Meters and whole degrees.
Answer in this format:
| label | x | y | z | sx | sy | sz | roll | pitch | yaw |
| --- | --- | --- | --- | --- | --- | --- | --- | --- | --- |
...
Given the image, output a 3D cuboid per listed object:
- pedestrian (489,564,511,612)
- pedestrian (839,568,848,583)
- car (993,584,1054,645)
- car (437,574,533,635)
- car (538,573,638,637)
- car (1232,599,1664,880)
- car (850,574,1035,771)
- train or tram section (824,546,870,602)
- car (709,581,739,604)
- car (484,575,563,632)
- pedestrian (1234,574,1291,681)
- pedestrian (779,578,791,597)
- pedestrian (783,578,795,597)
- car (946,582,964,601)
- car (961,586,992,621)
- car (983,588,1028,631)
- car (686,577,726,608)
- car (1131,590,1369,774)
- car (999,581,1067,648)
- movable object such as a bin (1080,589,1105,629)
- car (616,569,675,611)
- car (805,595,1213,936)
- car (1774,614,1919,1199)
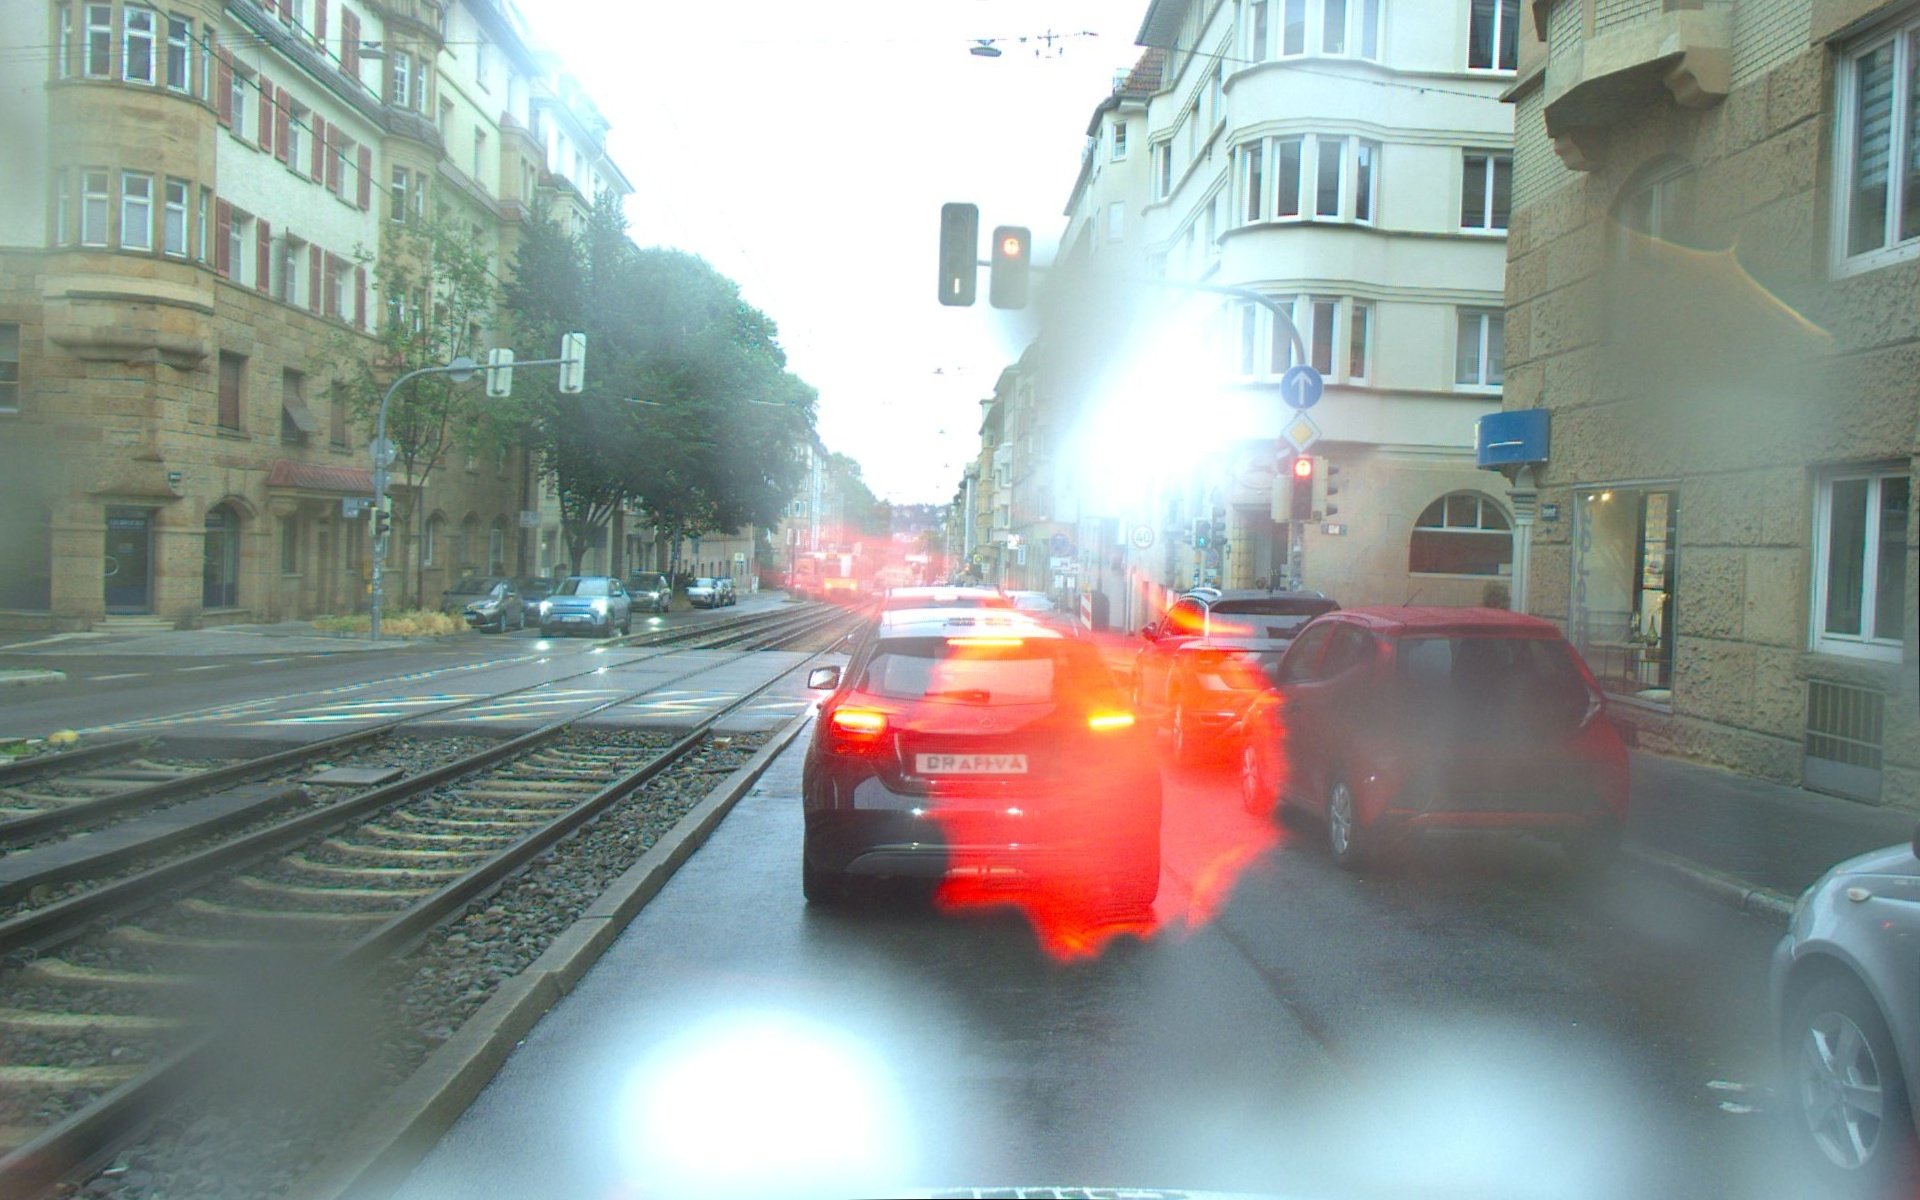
| label | x | y | z | sx | sy | sz | roll | pitch | yaw |
| --- | --- | --- | --- | --- | --- | --- | --- | --- | --- |
| pedestrian | -16.370 | -0.412 | 58.917 | 0.619 | 1.702 | 0.701 | 1 | -1 | -7 |
| pedestrian | -15.742 | -3.352 | 223.270 | 1.031 | 1.992 | 1.043 | 2 | 0 | 0 |
| car | 1.772 | 0.387 | 47.131 | 1.513 | 1.618 | 3.547 | 1 | 0 | -1 |
| car | -13.009 | 0.126 | 45.488 | 1.718 | 1.579 | 4.032 | 1 | 0 | -4 |
| car | -10.044 | 0.144 | 44.918 | 1.860 | 1.615 | 3.972 | 1 | 0 | -1 |
| car | 2.906 | 0.754 | 10.551 | 1.609 | 1.473 | 3.297 | 1 | 0 | -3 |
| car | -0.175 | 0.621 | 15.825 | 1.533 | 1.637 | 3.813 | 1 | 0 | -1 |
| train or tram section | -8.303 | -1.850 | 122.713 | 2.726 | 3.928 | 10.427 | 1 | 0 | -1 |
| car | -14.016 | -0.434 | 98.363 | 1.419 | 1.354 | 3.270 | 1 | 0 | -3 |
| car | -13.273 | 0.108 | 50.514 | 1.683 | 1.639 | 3.914 | 1 | 0 | -5 |
| pedestrian | 5.178 | 0.467 | 28.372 | 0.726 | 1.778 | 1.111 | 1 | -1 | -1 |
| pedestrian | -18.368 | -1.326 | 173.771 | 1.031 | 1.992 | 1.043 | 2 | 0 | 0 |
| pedestrian | -18.123 | -1.314 | 175.228 | 1.031 | 1.992 | 1.043 | 2 | 0 | 0 |
| car | -0.409 | -0.728 | 146.745 | 1.513 | 1.664 | 3.686 | 1 | 0 | 0 |
| car | 0.729 | 0.144 | 73.597 | 1.268 | 1.467 | 2.928 | 1 | 0 | -1 |
| car | 1.668 | 0.337 | 61.539 | 1.513 | 1.512 | 3.547 | 1 | 0 | -1 |
| car | -13.649 | -0.379 | 88.959 | 1.557 | 1.608 | 3.917 | 1 | 0 | -1 |
| car | 2.631 | 0.683 | 15.787 | 1.513 | 1.512 | 3.829 | 1 | 0 | -1 |
| car | 1.842 | 0.360 | 42.657 | 1.513 | 1.618 | 3.547 | 1 | 0 | -1 |
| movable object such as a bin | 4.768 | 0.317 | 59.634 | 0.859 | 1.413 | 0.983 | 1 | -1 | 3 |
| car | -13.556 | -0.411 | 71.497 | 1.837 | 1.767 | 3.917 | 1 | 0 | -1 |
| car | 0.191 | 0.736 | 9.442 | 1.792 | 1.483 | 4.103 | 1 | 0 | -1 |
| car | 3.123 | 0.793 | 3.092 | 1.581 | 1.493 | 3.312 | 0 | 0 | 0 |
